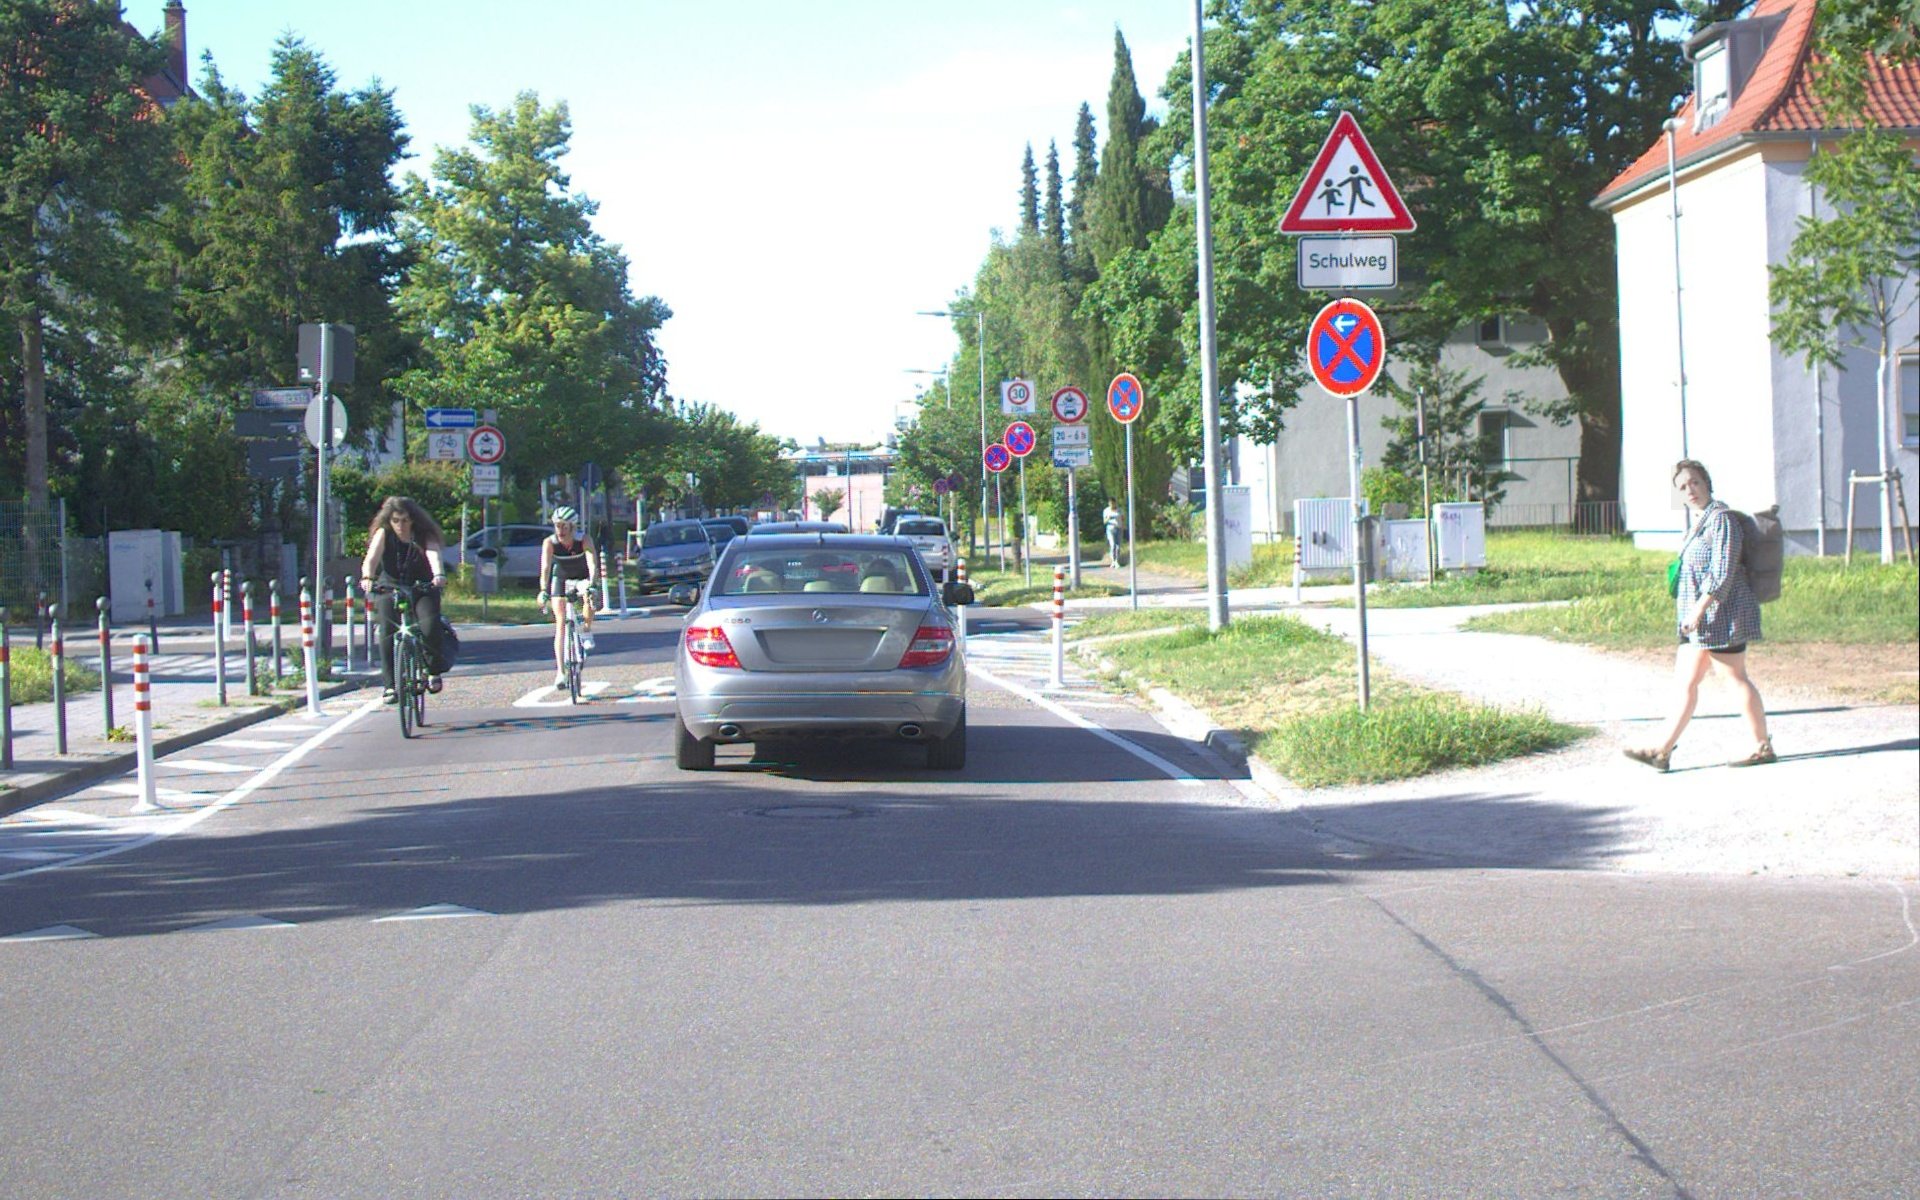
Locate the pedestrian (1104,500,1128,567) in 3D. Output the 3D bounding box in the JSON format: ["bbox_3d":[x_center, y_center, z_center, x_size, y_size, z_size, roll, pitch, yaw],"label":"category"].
[{"bbox_3d":[3.641,-1.560,80.339,0.509,1.554,0.643,0,0,0],"label":"pedestrian"}]

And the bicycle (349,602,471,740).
[{"bbox_3d":[-4.096,0.511,25.720,0.589,0.928,1.850,-2,1,0],"label":"bicycle"}]

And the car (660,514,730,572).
[{"bbox_3d":[-7.395,-1.602,95.621,1.787,1.527,4.001,-2,1,-6],"label":"car"}]

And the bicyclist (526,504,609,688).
[{"bbox_3d":[-3.273,-0.042,28.720,0.572,1.504,0.655,-2,1,0],"label":"bicyclist"}]

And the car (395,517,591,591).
[{"bbox_3d":[-9.815,-0.960,72.450,3.986,1.518,1.757,0,0,-4],"label":"car"}]

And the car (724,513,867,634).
[{"bbox_3d":[-2.055,-0.323,43.423,1.706,1.443,4.203,0,0,-2],"label":"car"}]

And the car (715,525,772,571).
[{"bbox_3d":[-7.623,-1.853,120.824,1.787,1.527,4.001,-2,1,-6],"label":"car"}]

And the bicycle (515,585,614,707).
[{"bbox_3d":[-3.294,0.367,28.744,0.589,0.928,1.850,-2,1,0],"label":"bicycle"}]

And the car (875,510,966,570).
[{"bbox_3d":[-0.945,-1.407,80.160,1.722,1.325,4.001,-2,1,-6],"label":"car"}]

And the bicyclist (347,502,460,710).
[{"bbox_3d":[-4.122,0.034,25.510,0.680,1.504,0.655,-2,1,0],"label":"bicyclist"}]

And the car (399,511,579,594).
[{"bbox_3d":[-9.457,-0.958,69.091,3.493,1.528,1.645,-2,1,-8],"label":"car"}]

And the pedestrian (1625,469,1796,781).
[{"bbox_3d":[4.000,0.126,18.315,0.647,1.617,0.616,-1,1,37],"label":"pedestrian"}]

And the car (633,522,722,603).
[{"bbox_3d":[-6.406,-0.864,77.700,1.872,1.722,4.001,-2,1,-6],"label":"car"}]

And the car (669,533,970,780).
[{"bbox_3d":[-0.828,0.319,21.766,1.726,1.415,3.960,0,0,-1],"label":"car"}]
